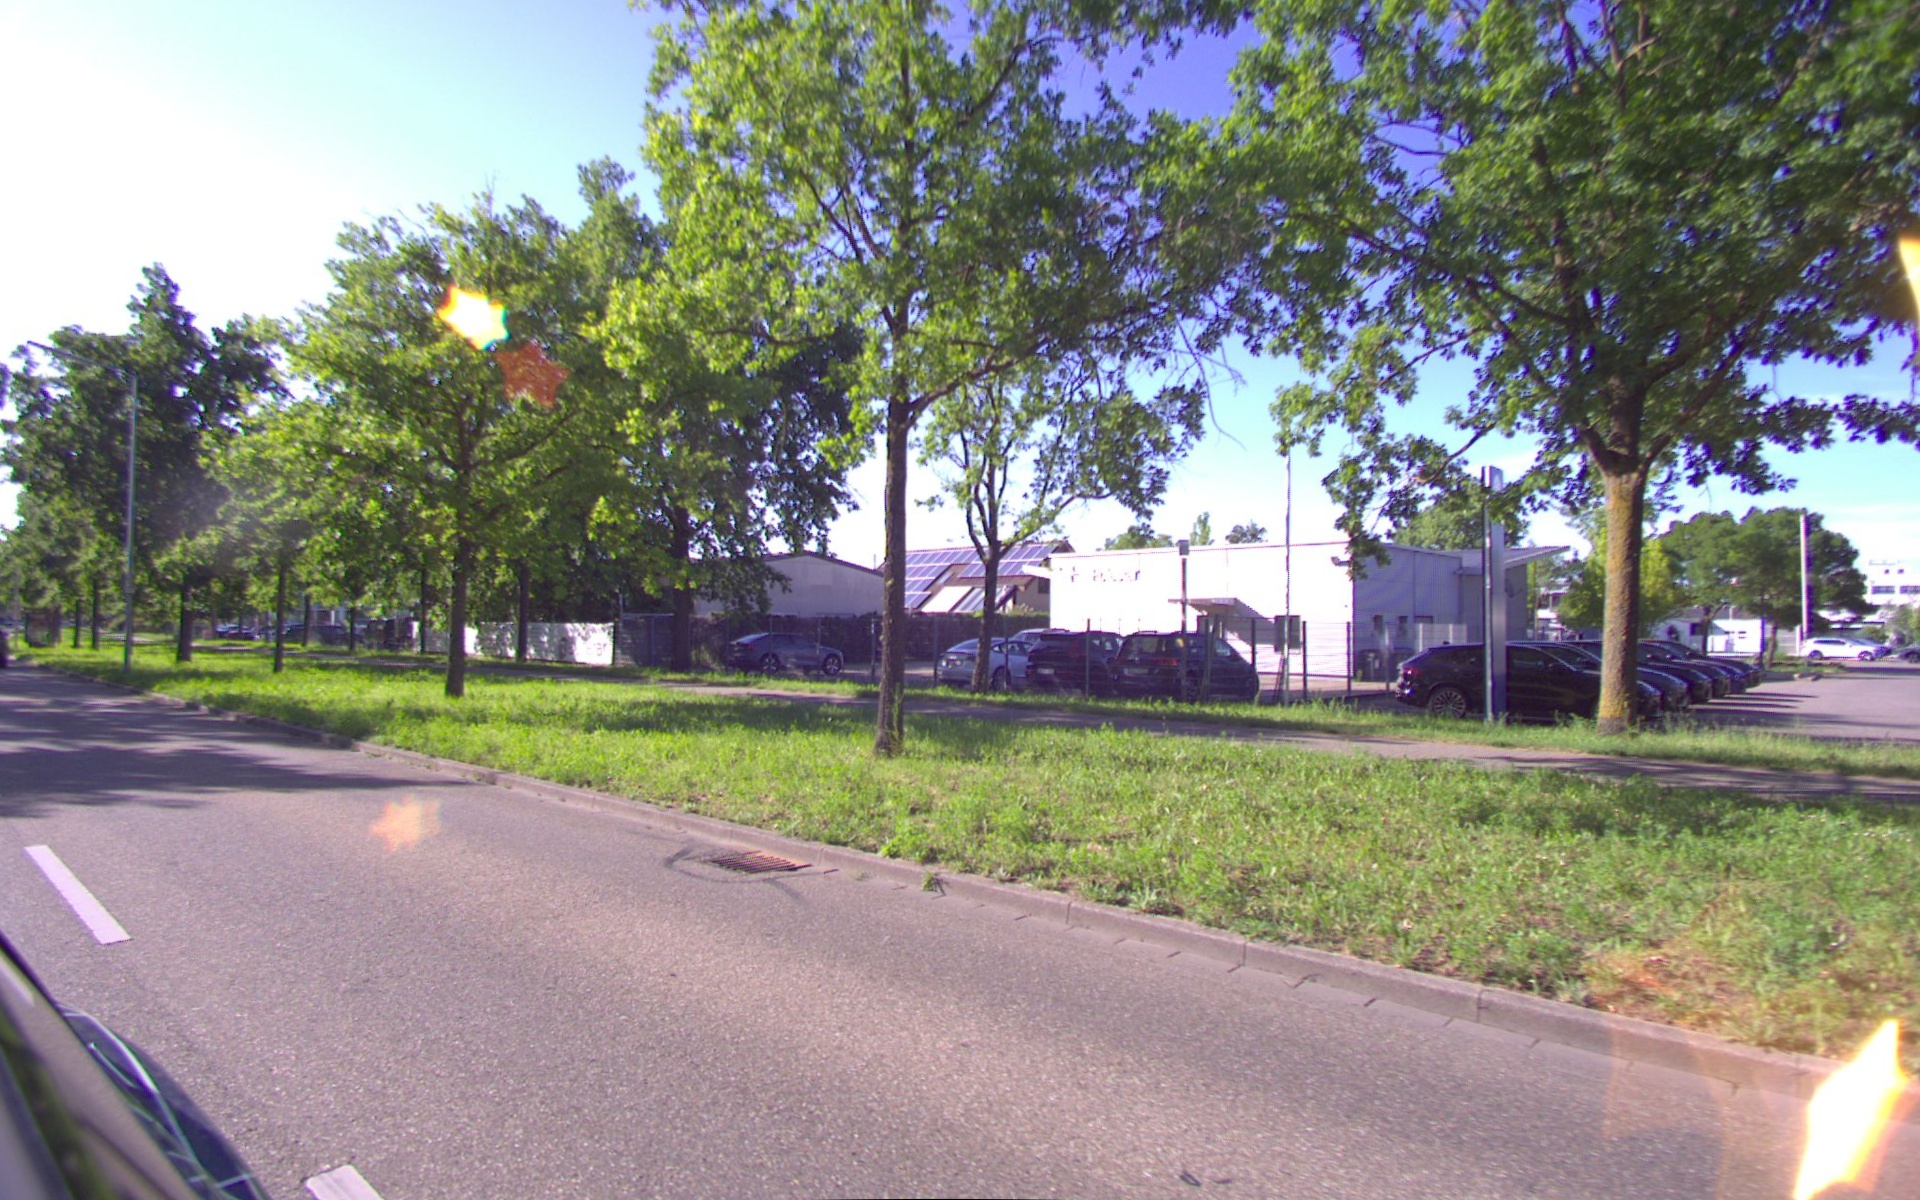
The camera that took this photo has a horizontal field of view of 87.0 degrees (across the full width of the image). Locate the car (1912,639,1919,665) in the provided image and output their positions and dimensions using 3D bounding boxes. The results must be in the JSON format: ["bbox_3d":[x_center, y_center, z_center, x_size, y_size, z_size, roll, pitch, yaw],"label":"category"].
[{"bbox_3d":[66.597,3.491,67.417,4.522,1.673,1.971,-2,-2,45],"label":"car"}]

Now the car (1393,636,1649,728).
[{"bbox_3d":[11.516,1.629,21.157,4.474,1.688,1.983,-1,0,26],"label":"car"}]

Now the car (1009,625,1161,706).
[{"bbox_3d":[3.223,1.576,25.654,1.862,1.759,3.943,-1,0,43],"label":"car"}]

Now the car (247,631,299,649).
[{"bbox_3d":[-64.372,3.700,94.899,3.826,1.513,2.007,-1,0,-26],"label":"car"}]

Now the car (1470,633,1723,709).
[{"bbox_3d":[15.958,1.729,25.762,5.236,1.702,1.981,-1,0,29],"label":"car"}]

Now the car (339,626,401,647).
[{"bbox_3d":[-57.531,3.506,98.735,4.963,1.852,2.007,-1,0,-23],"label":"car"}]

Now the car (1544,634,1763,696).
[{"bbox_3d":[20.696,1.889,30.536,5.236,1.673,1.981,-1,0,29],"label":"car"}]

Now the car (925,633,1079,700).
[{"bbox_3d":[1.215,1.742,27.688,1.862,1.530,4.263,-1,0,43],"label":"car"}]

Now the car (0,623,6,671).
[{"bbox_3d":[-35.781,1.639,36.421,4.199,1.685,1.748,-1,-3,42],"label":"car"}]

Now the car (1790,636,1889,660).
[{"bbox_3d":[65.203,3.536,75.087,5.434,1.673,1.971,-2,-2,45],"label":"car"}]

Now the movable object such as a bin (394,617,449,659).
[{"bbox_3d":[-34.390,2.363,64.618,1.971,2.535,4.238,-1,0,-45],"label":"movable object such as a bin"}]

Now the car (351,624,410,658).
[{"bbox_3d":[-39.114,2.749,68.289,5.673,2.191,1.971,-2,-2,44],"label":"car"}]

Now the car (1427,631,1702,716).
[{"bbox_3d":[13.678,1.610,23.335,5.233,1.730,1.982,-1,0,27],"label":"car"}]

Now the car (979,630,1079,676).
[{"bbox_3d":[2.696,1.995,39.035,1.751,1.530,3.943,-1,0,43],"label":"car"}]

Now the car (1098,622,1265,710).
[{"bbox_3d":[5.209,1.452,23.526,2.001,1.755,3.942,-1,0,44],"label":"car"}]

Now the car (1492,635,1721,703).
[{"bbox_3d":[17.916,1.858,28.432,5.236,1.673,1.981,-1,0,29],"label":"car"}]

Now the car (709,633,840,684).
[{"bbox_3d":[-6.414,1.975,35.192,2.199,1.530,3.943,-1,0,43],"label":"car"}]
